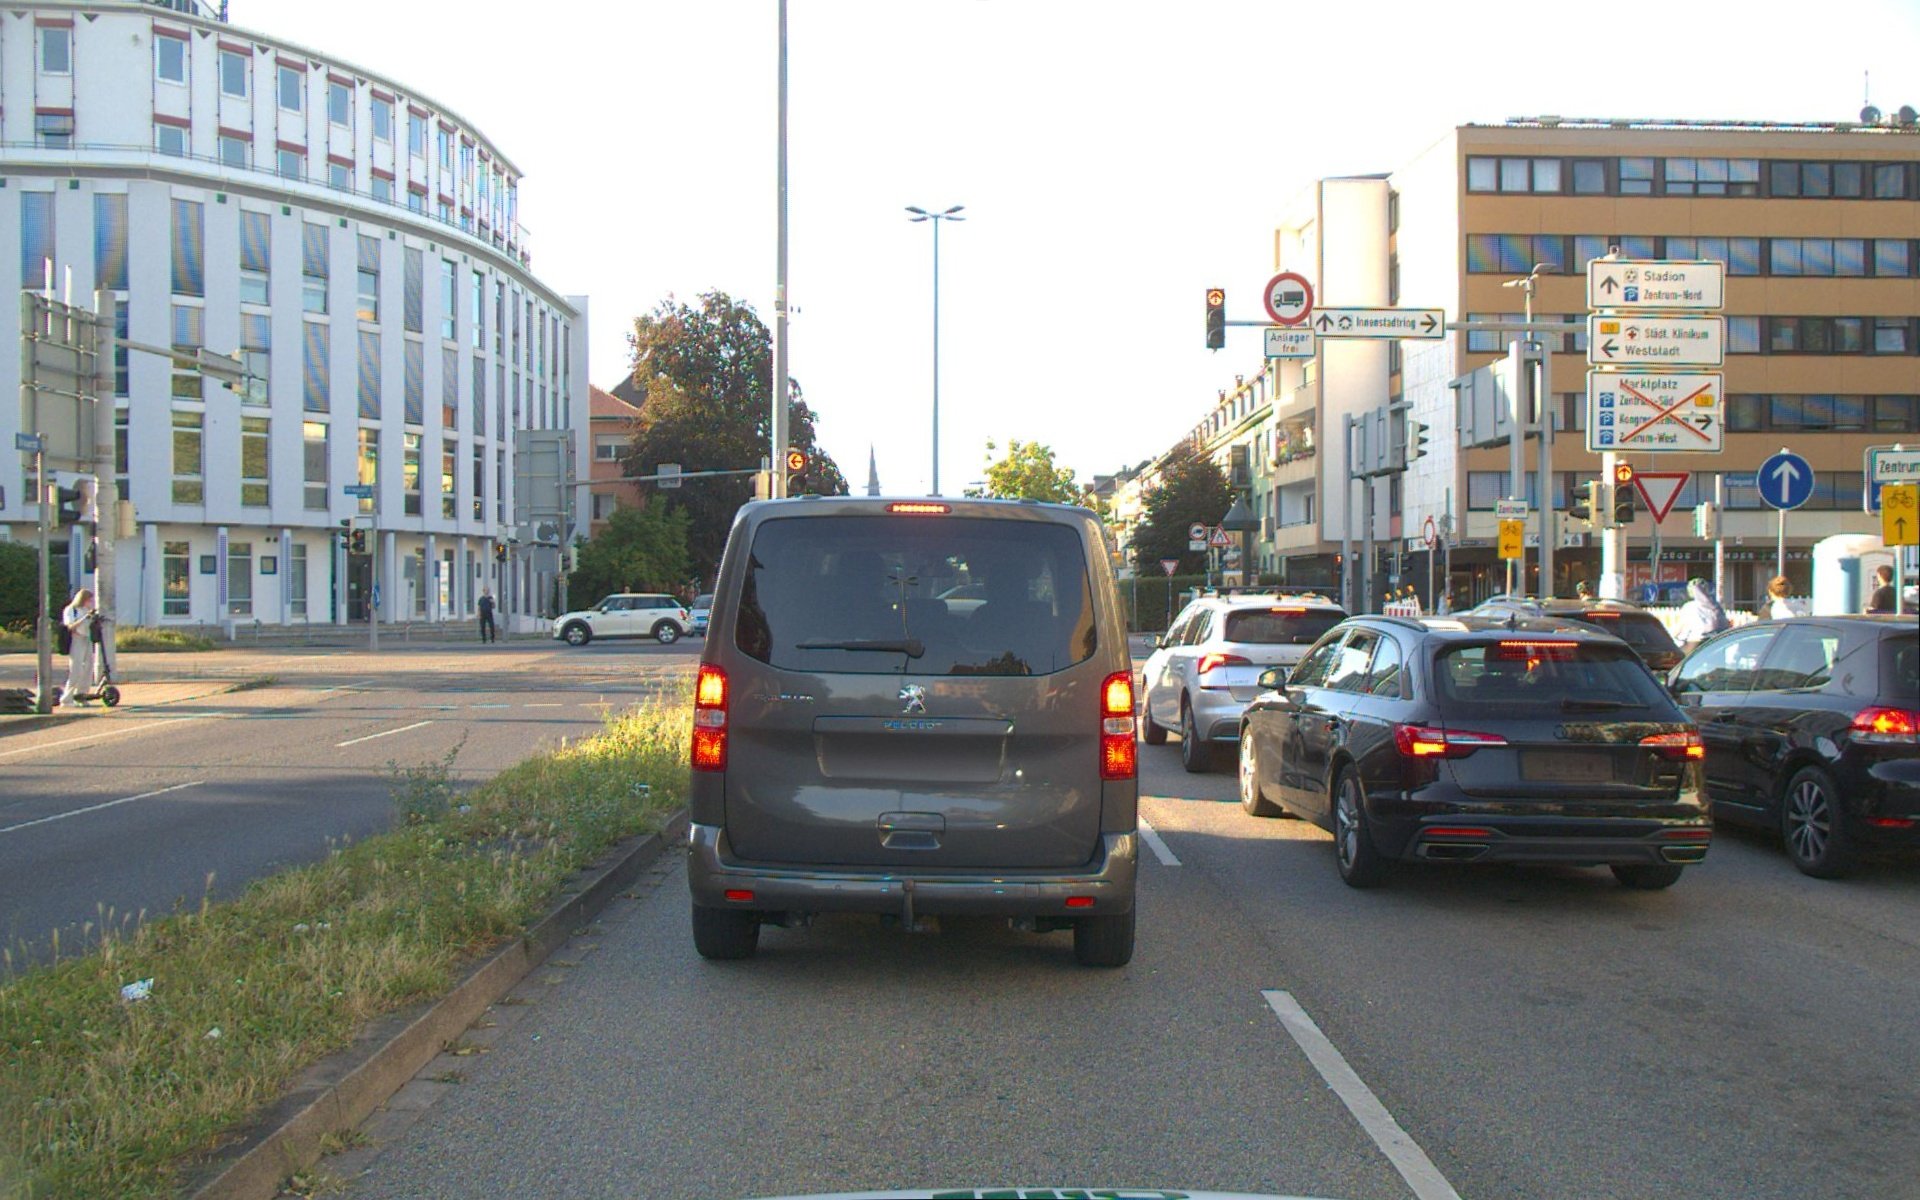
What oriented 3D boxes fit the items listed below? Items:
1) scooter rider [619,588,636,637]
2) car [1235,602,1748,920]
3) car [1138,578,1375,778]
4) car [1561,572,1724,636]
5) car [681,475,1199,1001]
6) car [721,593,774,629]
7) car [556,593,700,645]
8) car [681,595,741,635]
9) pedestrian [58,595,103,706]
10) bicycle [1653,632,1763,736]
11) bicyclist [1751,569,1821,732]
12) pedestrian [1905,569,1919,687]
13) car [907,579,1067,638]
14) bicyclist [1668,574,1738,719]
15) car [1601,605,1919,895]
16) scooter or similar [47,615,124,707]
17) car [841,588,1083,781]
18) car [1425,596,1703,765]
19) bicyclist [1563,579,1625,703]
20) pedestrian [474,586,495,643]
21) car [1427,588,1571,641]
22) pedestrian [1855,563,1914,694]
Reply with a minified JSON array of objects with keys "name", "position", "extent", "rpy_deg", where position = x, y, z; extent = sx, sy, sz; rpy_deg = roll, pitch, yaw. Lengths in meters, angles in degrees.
[{"name":"scooter rider","position":[-11.873,0.446,59.011],"extent":[0.471,1.727,0.636],"rpy_deg":[0,0,-1]},{"name":"car","position":[2.865,0.763,9.921],"extent":[1.647,1.446,4.213],"rpy_deg":[1,0,-1]},{"name":"car","position":[2.679,0.647,15.694],"extent":[1.498,1.641,3.744],"rpy_deg":[1,0,-1]},{"name":"car","position":[20.611,0.100,50.044],"extent":[4.137,1.849,1.996],"rpy_deg":[0,0,-9]},{"name":"car","position":[-0.102,0.499,8.345],"extent":[1.868,1.896,4.525],"rpy_deg":[1,0,-1]},{"name":"car","position":[-8.814,0.447,68.731],"extent":[1.819,1.445,3.998],"rpy_deg":[0,0,-2]},{"name":"car","position":[-9.510,0.530,47.571],"extent":[3.911,1.445,1.785],"rpy_deg":[0,0,-7]},{"name":"car","position":[-9.448,0.536,62.903],"extent":[1.819,1.445,3.998],"rpy_deg":[0,0,-2]},{"name":"pedestrian","position":[-12.336,0.701,23.204],"extent":[0.466,1.532,0.334],"rpy_deg":[0,0,-13]},{"name":"bicycle","position":[8.136,0.891,18.065],"extent":[0.329,1.025,1.855],"rpy_deg":[0,0,-1]},{"name":"bicyclist","position":[7.977,0.482,15.986],"extent":[0.432,1.552,0.482],"rpy_deg":[0,0,-1]},{"name":"pedestrian","position":[14.149,0.403,24.031],"extent":[0.593,1.700,0.451],"rpy_deg":[0,0,-21]},{"name":"car","position":[0.702,0.221,45.337],"extent":[4.253,1.576,1.786],"rpy_deg":[0,0,-4]},{"name":"bicyclist","position":[8.141,0.499,18.147],"extent":[0.432,1.552,0.725],"rpy_deg":[0,0,-1]},{"name":"car","position":[5.629,0.804,10.498],"extent":[1.600,1.474,3.744],"rpy_deg":[1,0,-1]},{"name":"scooter or similar","position":[-12.151,0.842,22.992],"extent":[0.877,1.255,0.370],"rpy_deg":[0,0,-12]},{"name":"car","position":[-0.013,0.672,15.377],"extent":[1.953,1.557,3.999],"rpy_deg":[0,0,-1]},{"name":"car","position":[5.786,0.702,16.221],"extent":[1.474,1.474,3.304],"rpy_deg":[0,0,-1]},{"name":"bicyclist","position":[8.070,0.516,21.081],"extent":[0.503,1.552,0.725],"rpy_deg":[0,0,-1]},{"name":"pedestrian","position":[-14.790,0.458,51.447],"extent":[0.615,1.752,0.669],"rpy_deg":[0,0,-15]},{"name":"car","position":[15.564,0.407,47.826],"extent":[3.608,1.412,1.692],"rpy_deg":[-2,0,-11]},{"name":"pedestrian","position":[13.327,0.400,23.843],"extent":[0.561,1.866,0.485],"rpy_deg":[0,0,-19]}]
